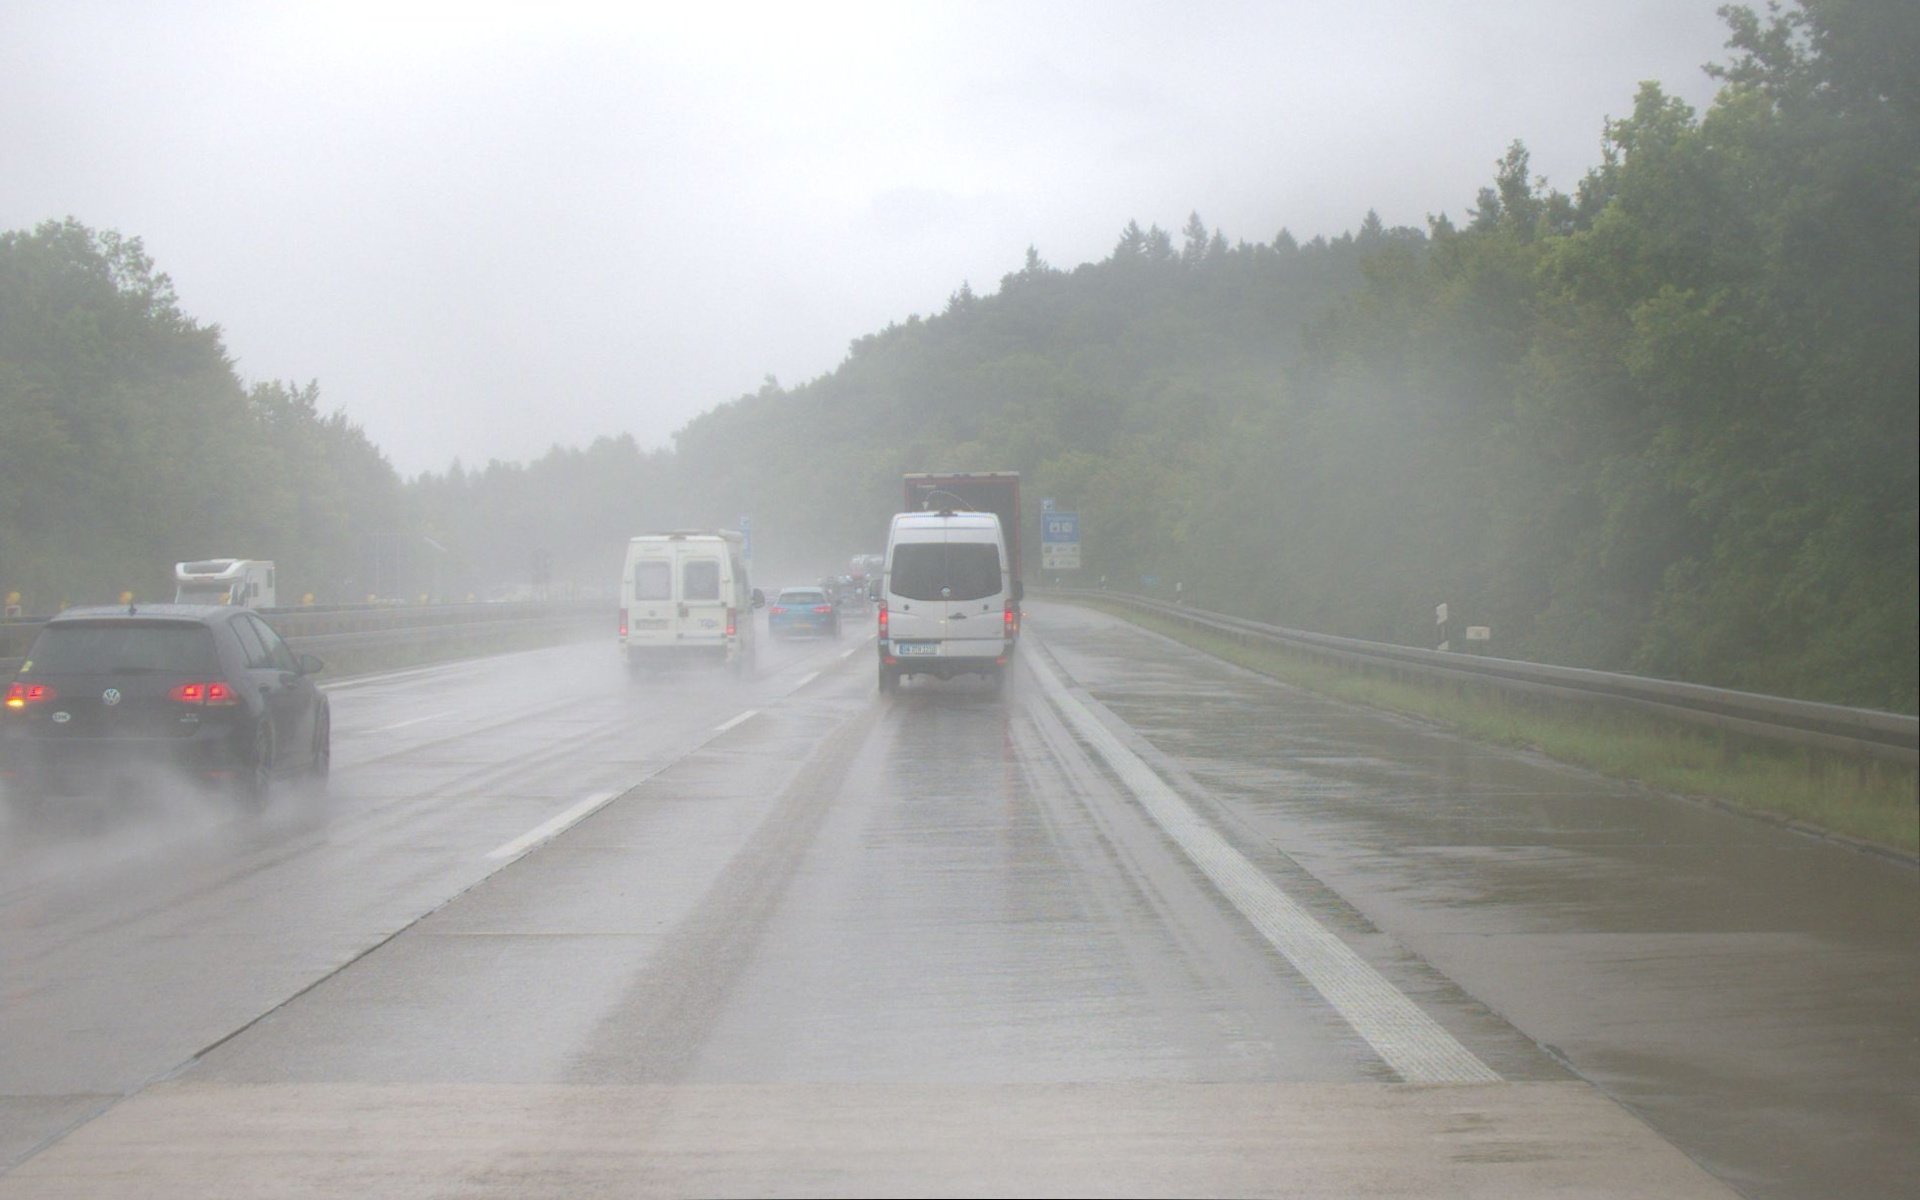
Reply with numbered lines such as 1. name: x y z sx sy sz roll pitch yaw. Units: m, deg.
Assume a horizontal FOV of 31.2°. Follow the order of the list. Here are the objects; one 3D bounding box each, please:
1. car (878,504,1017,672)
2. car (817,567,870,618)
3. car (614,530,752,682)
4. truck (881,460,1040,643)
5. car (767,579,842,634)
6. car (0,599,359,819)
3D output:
1. car: -0.240 -0.190 51.122 1.899 2.326 5.251 2 0 -1
2. car: -4.309 -0.284 127.754 1.868 1.804 4.189 2 0 -1
3. car: -4.708 0.074 59.181 1.997 2.423 5.791 2 0 -1
4. truck: -0.034 -1.240 80.584 3.385 3.954 8.667 -2 2 -1
5. car: -4.102 0.154 90.100 1.856 1.334 4.352 2 0 -3
6. car: -5.407 0.695 24.106 1.740 1.383 4.322 -1 0 -2
